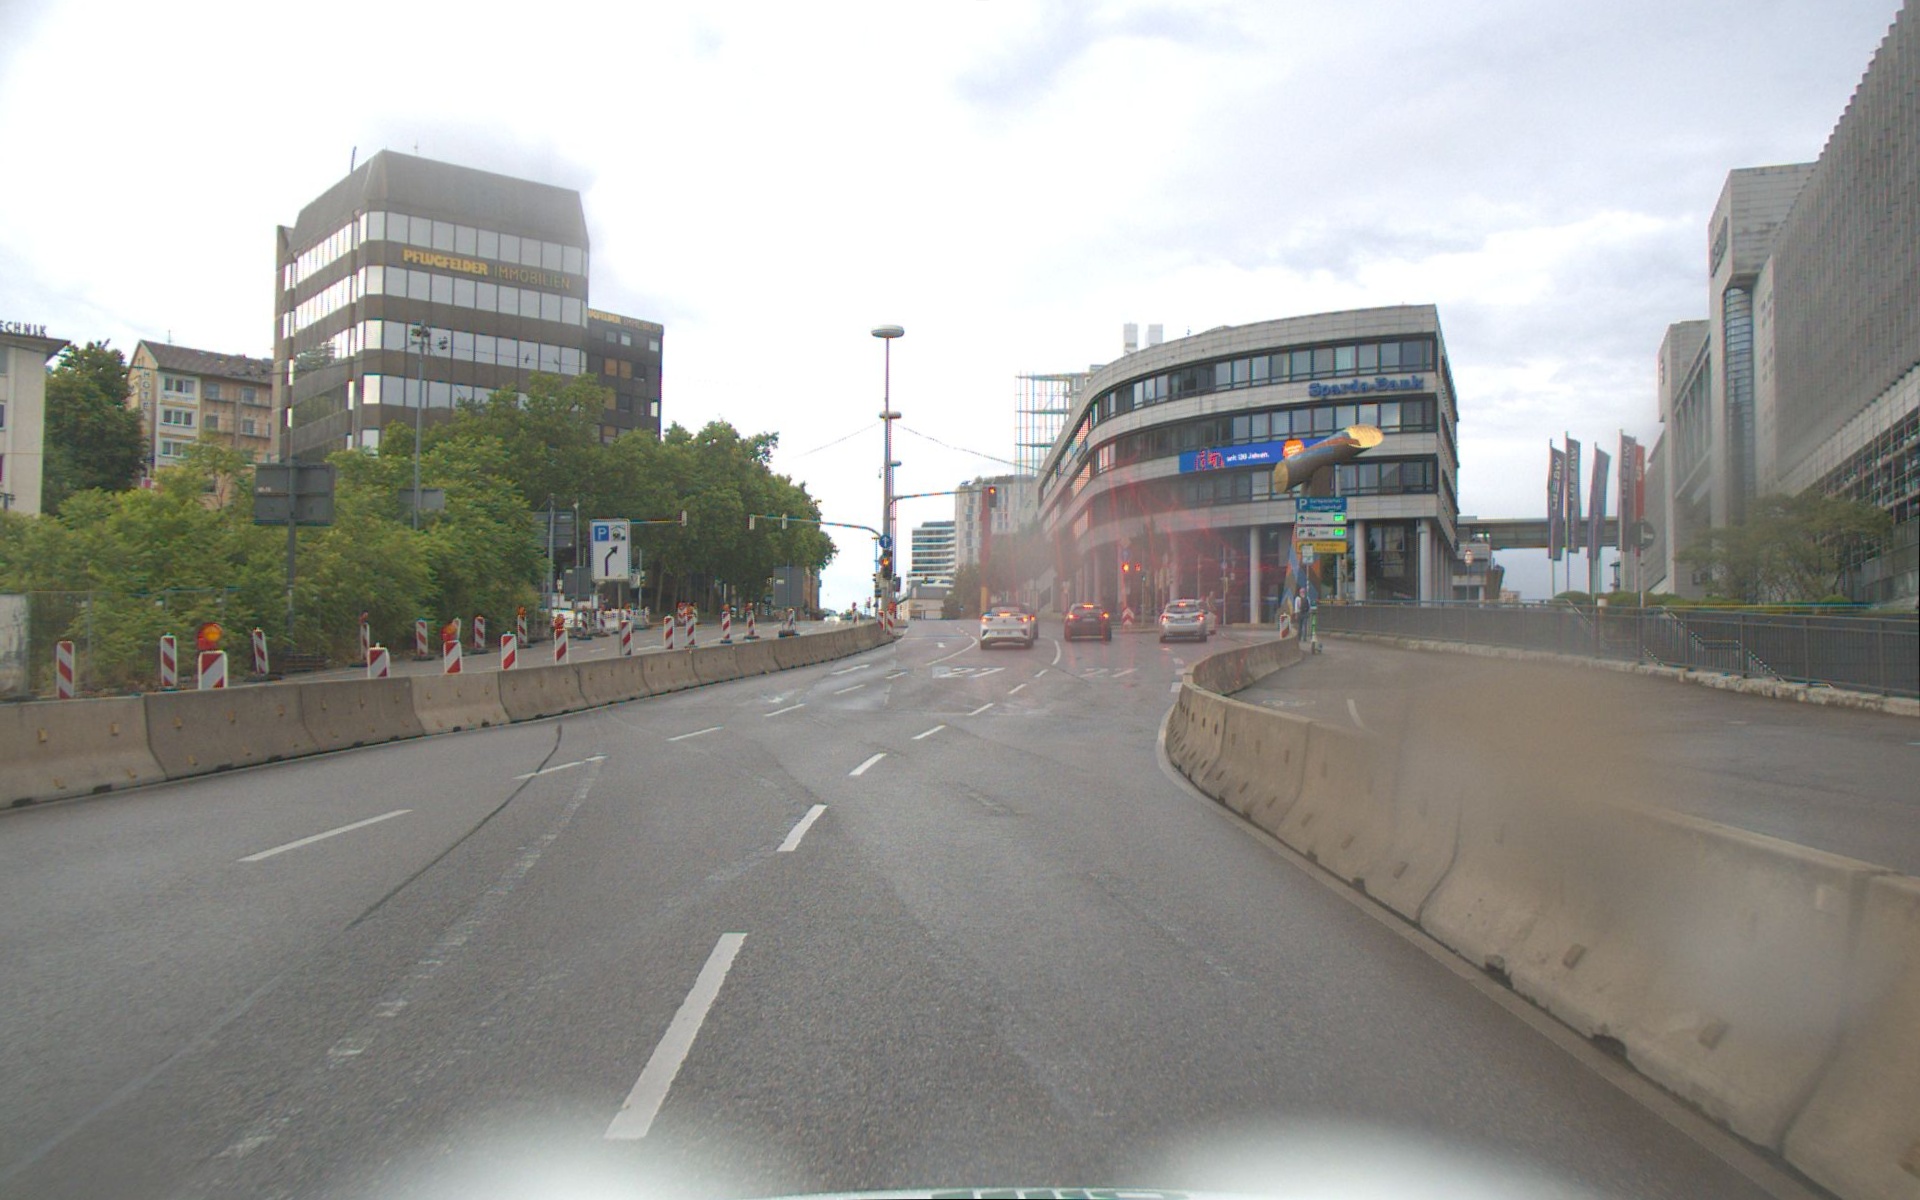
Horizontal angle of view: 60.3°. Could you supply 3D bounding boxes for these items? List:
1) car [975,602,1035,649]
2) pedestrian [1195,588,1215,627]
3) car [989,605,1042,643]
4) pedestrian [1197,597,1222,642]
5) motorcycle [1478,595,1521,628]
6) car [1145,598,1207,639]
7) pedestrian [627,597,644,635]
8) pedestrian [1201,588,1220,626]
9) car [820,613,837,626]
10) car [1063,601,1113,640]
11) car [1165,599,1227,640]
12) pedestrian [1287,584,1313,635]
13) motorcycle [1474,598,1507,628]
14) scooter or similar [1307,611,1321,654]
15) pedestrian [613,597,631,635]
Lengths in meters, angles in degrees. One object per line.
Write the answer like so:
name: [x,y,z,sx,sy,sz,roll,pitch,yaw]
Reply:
car: [1.588,0.845,57.374,1.922,1.576,4.220,0,0,4]
pedestrian: [12.470,0.377,84.183,0.824,1.938,0.860,-1,-3,25]
car: [2.191,0.948,66.131,1.705,1.468,3.997,0,0,-4]
pedestrian: [12.135,0.961,80.468,0.841,2.135,0.897,2,-1,-24]
motorcycle: [23.346,0.506,71.573,1.692,1.378,0.605,-1,0,-9]
car: [8.030,0.716,61.814,1.666,1.476,4.615,1,-1,0]
pedestrian: [-16.726,0.837,85.322,0.658,1.935,0.775,0,-2,1]
pedestrian: [12.874,0.388,84.978,0.824,1.938,0.731,-1,-1,25]
car: [-15.827,2.379,199.041,1.725,1.486,4.358,-1,0,-2]
car: [4.905,0.816,63.960,1.718,1.432,4.228,2,-1,2]
car: [9.857,0.775,68.838,1.734,1.663,4.582,0,0,19]
pedestrian: [11.886,0.339,57.802,0.715,1.741,0.843,0,-2,-2]
motorcycle: [23.178,0.568,72.291,1.218,1.293,0.619,-1,0,-9]
scooter or similar: [9.830,0.904,45.932,0.341,1.183,0.573,0,-1,14]
pedestrian: [-17.455,0.826,85.359,0.745,1.956,0.742,0,-2,1]
